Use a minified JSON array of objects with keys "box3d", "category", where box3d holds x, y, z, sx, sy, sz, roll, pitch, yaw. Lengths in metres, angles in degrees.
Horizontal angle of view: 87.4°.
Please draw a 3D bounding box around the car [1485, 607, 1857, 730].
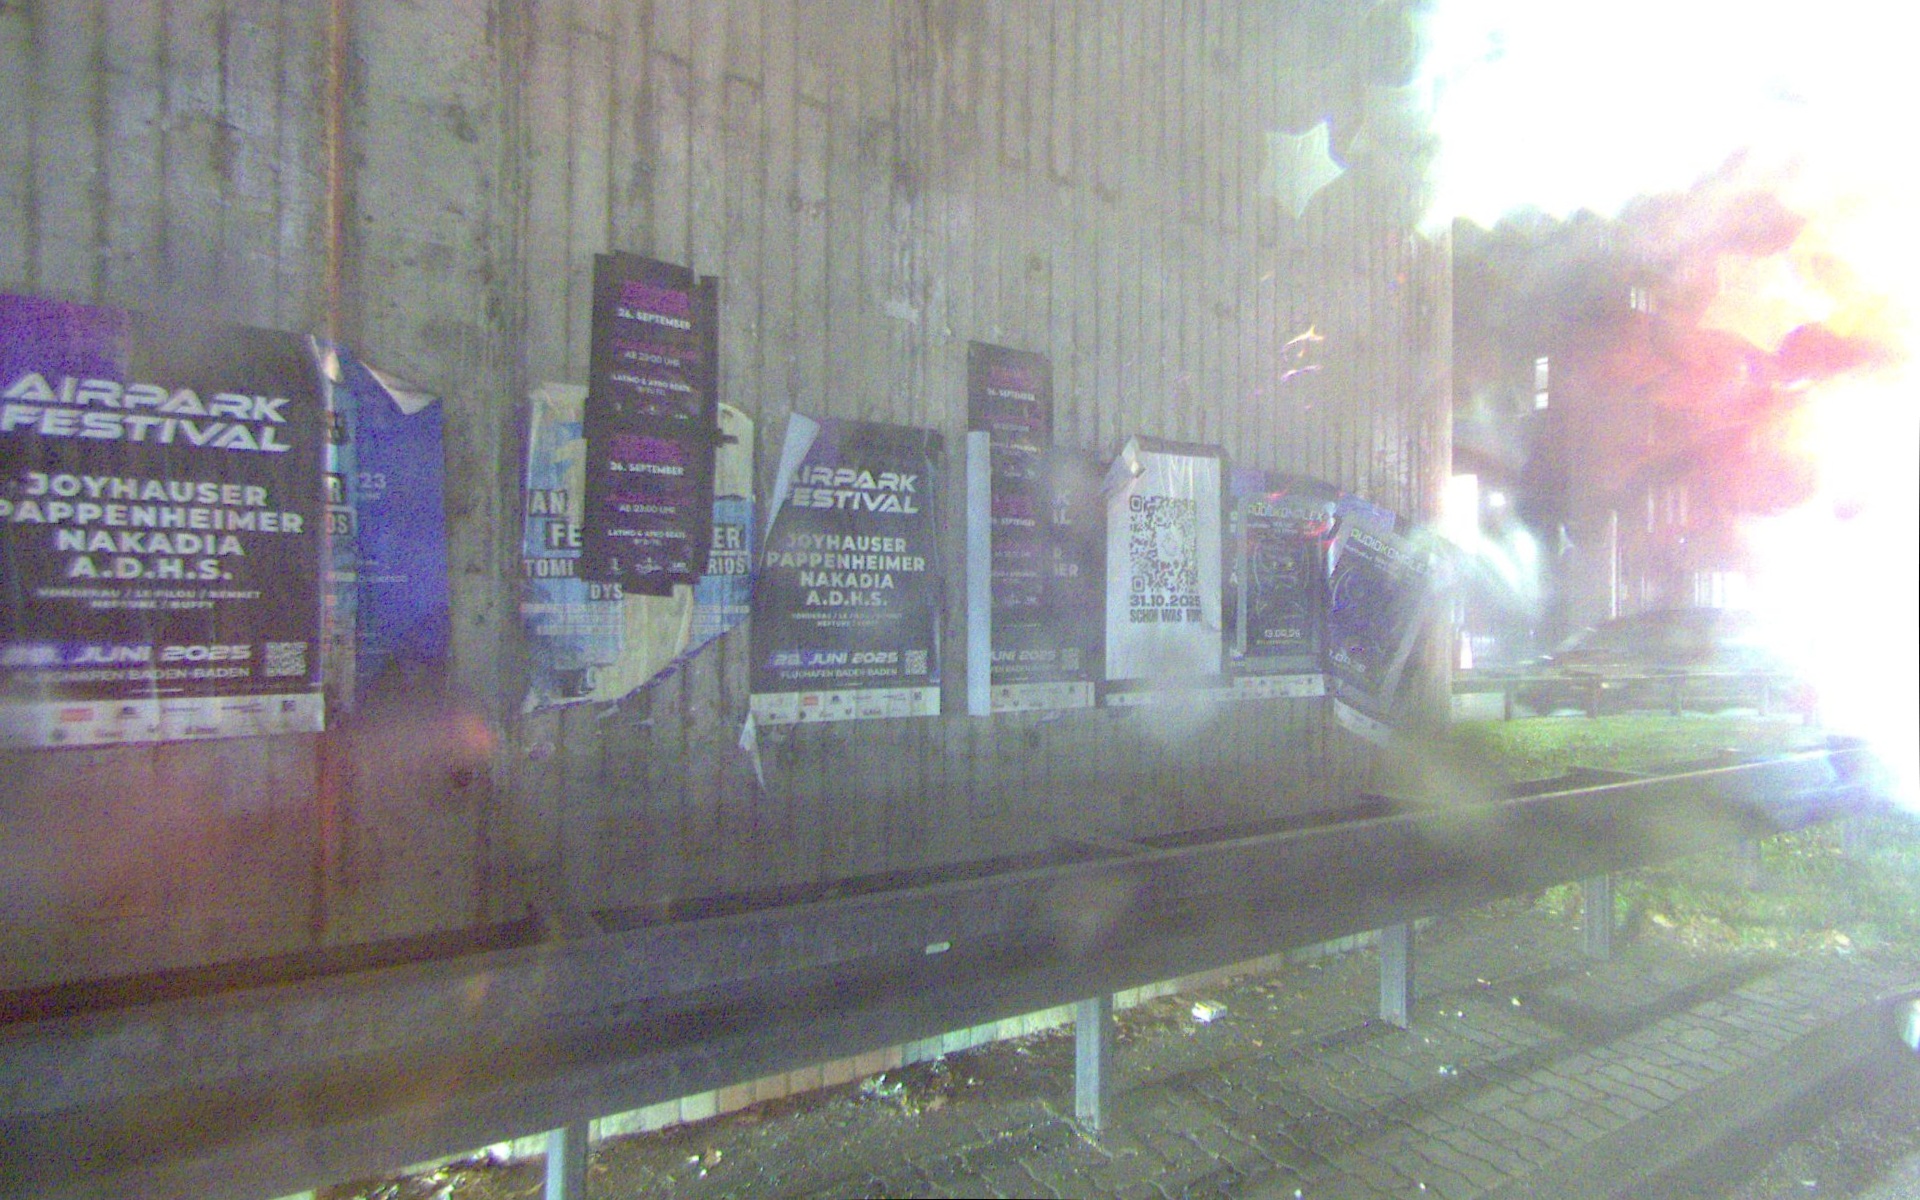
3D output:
[{"box3d":[11.580,1.080,16.563,4.824,1.764,1.970,2,0,-4],"category":"car"}]
